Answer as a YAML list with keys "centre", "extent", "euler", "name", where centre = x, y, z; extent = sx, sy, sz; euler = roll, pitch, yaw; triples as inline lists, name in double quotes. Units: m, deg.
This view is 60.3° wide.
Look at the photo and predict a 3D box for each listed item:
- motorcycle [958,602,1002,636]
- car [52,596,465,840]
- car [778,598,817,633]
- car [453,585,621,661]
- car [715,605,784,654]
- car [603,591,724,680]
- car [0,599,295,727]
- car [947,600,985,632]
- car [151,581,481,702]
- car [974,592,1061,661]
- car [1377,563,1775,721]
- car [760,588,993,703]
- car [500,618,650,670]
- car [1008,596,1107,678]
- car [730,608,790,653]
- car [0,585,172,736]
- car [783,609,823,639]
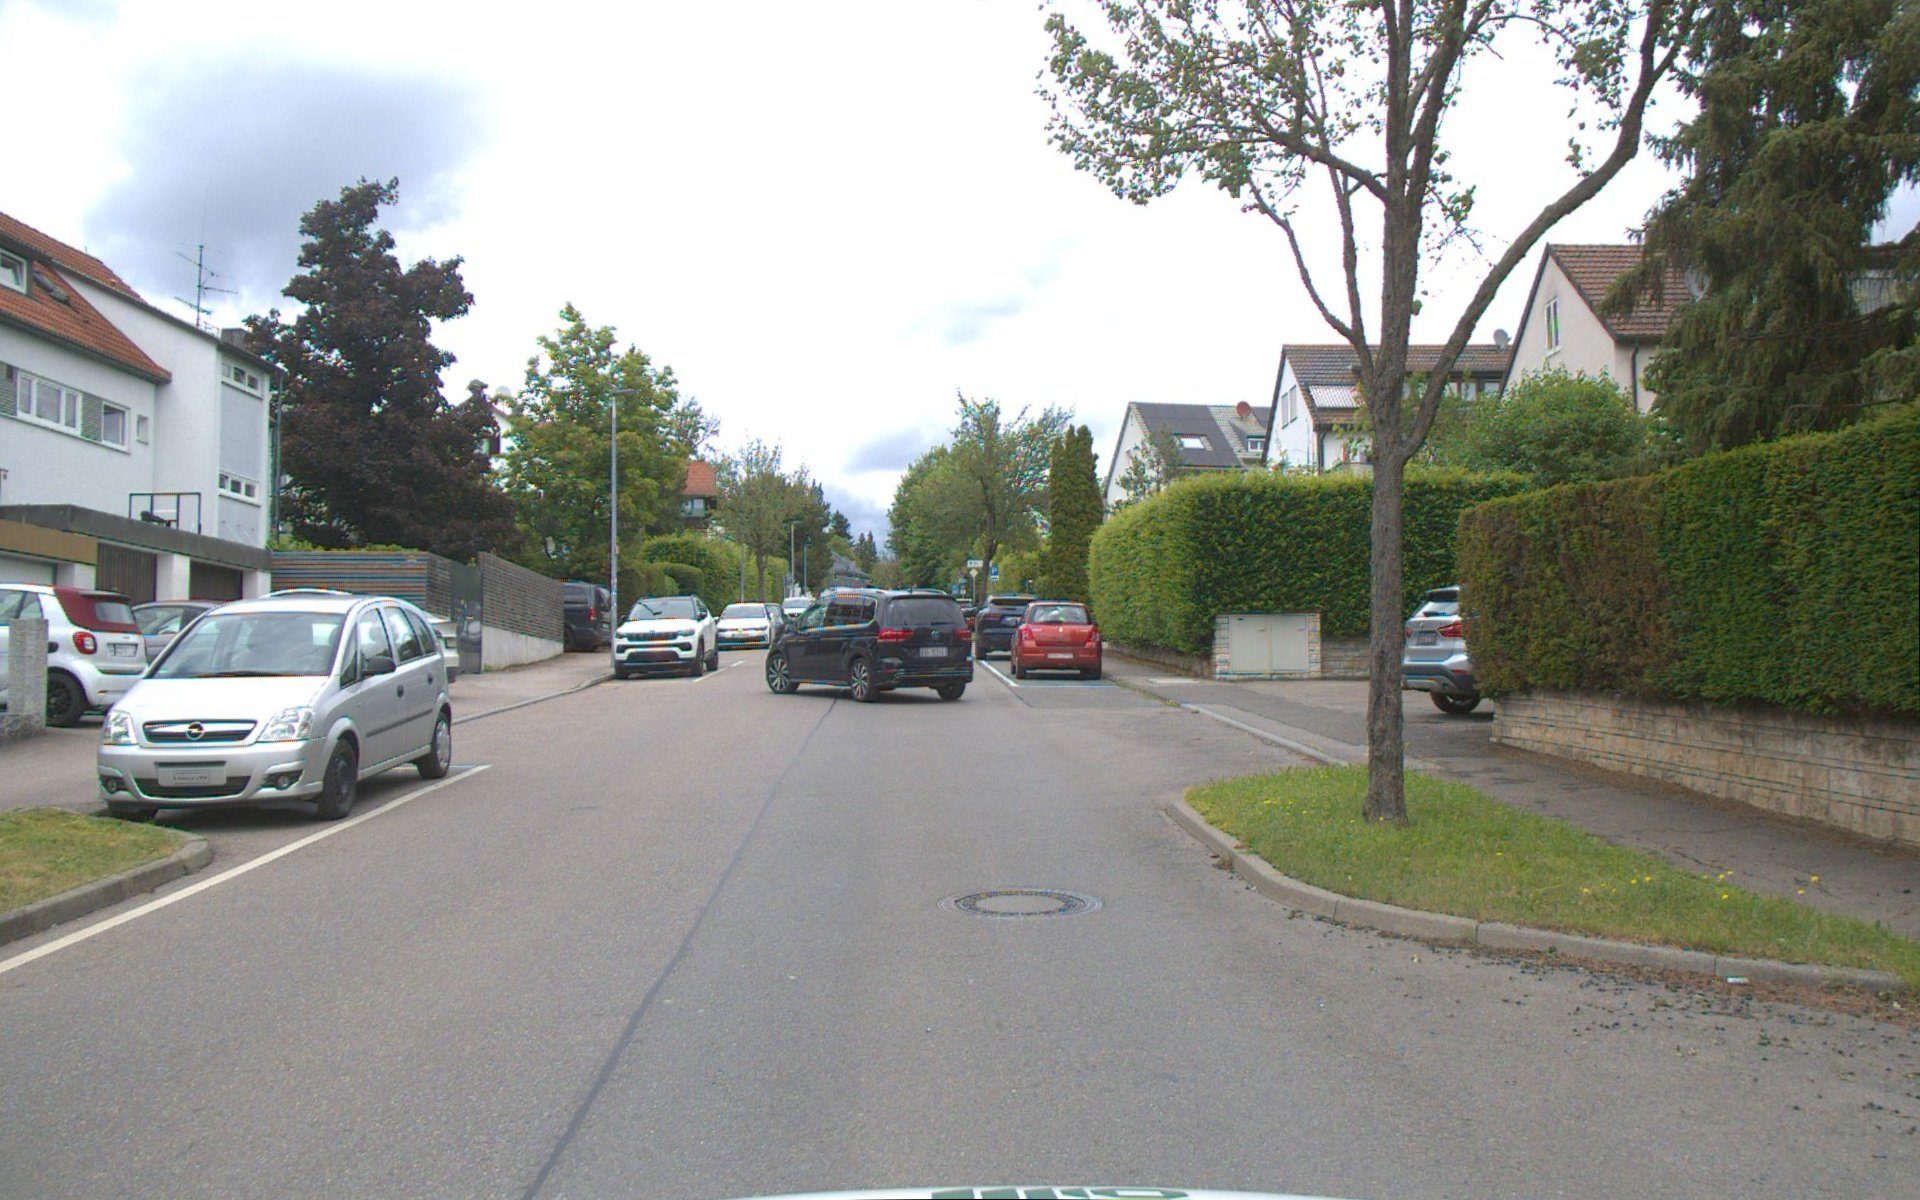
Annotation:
- centre: [0.828, 0.780, 67.923]
  extent: [1.849, 1.370, 0.591]
  euler: [-1, 0, -38]
  name: "motorcycle"
- centre: [-5.321, 0.798, 13.126]
  extent: [1.725, 1.590, 3.853]
  euler: [-2, 0, -2]
  name: "car"
- centre: [-7.617, 0.718, 77.972]
  extent: [1.689, 1.567, 3.996]
  euler: [-2, 0, -4]
  name: "car"
- centre: [-11.541, 0.635, 45.300]
  extent: [3.986, 1.984, 2.001]
  euler: [-1, -2, 6]
  name: "car"
- centre: [-6.763, 0.923, 53.528]
  extent: [1.801, 1.447, 4.406]
  euler: [-2, 0, -3]
  name: "car"
- centre: [-6.207, 0.713, 35.063]
  extent: [1.800, 1.695, 4.407]
  euler: [-2, 0, -1]
  name: "car"
- centre: [-10.851, 0.817, 21.880]
  extent: [3.359, 1.539, 1.692]
  euler: [2, -1, -1]
  name: "car"
- centre: [0.298, 0.813, 85.545]
  extent: [1.844, 1.560, 4.474]
  euler: [1, 0, -1]
  name: "car"
- centre: [-9.919, 0.635, 25.756]
  extent: [4.323, 1.657, 1.909]
  euler: [2, 0, -3]
  name: "car"
- centre: [1.422, 0.664, 42.815]
  extent: [1.953, 1.646, 4.512]
  euler: [1, 0, -1]
  name: "car"
- centre: [7.419, 0.464, 20.087]
  extent: [4.133, 1.627, 1.877]
  euler: [-3, 1, -11]
  name: "car"
- centre: [-1.401, 0.676, 25.955]
  extent: [1.830, 1.640, 4.263]
  euler: [0, -1, -32]
  name: "car"
- centre: [-11.260, 1.276, 48.489]
  extent: [3.901, 1.471, 1.780]
  euler: [0, 0, 10]
  name: "car"
- centre: [1.888, 0.691, 33.113]
  extent: [1.627, 1.534, 3.757]
  euler: [-1, 0, -2]
  name: "car"
- centre: [-6.986, 1.060, 58.105]
  extent: [1.692, 1.448, 4.077]
  euler: [-2, -1, -2]
  name: "car"
- centre: [-11.049, 0.645, 18.760]
  extent: [3.359, 1.606, 1.656]
  euler: [2, -1, -1]
  name: "car"
- centre: [-7.931, 1.225, 83.940]
  extent: [1.727, 1.412, 3.998]
  euler: [-3, -1, -2]
  name: "car"
